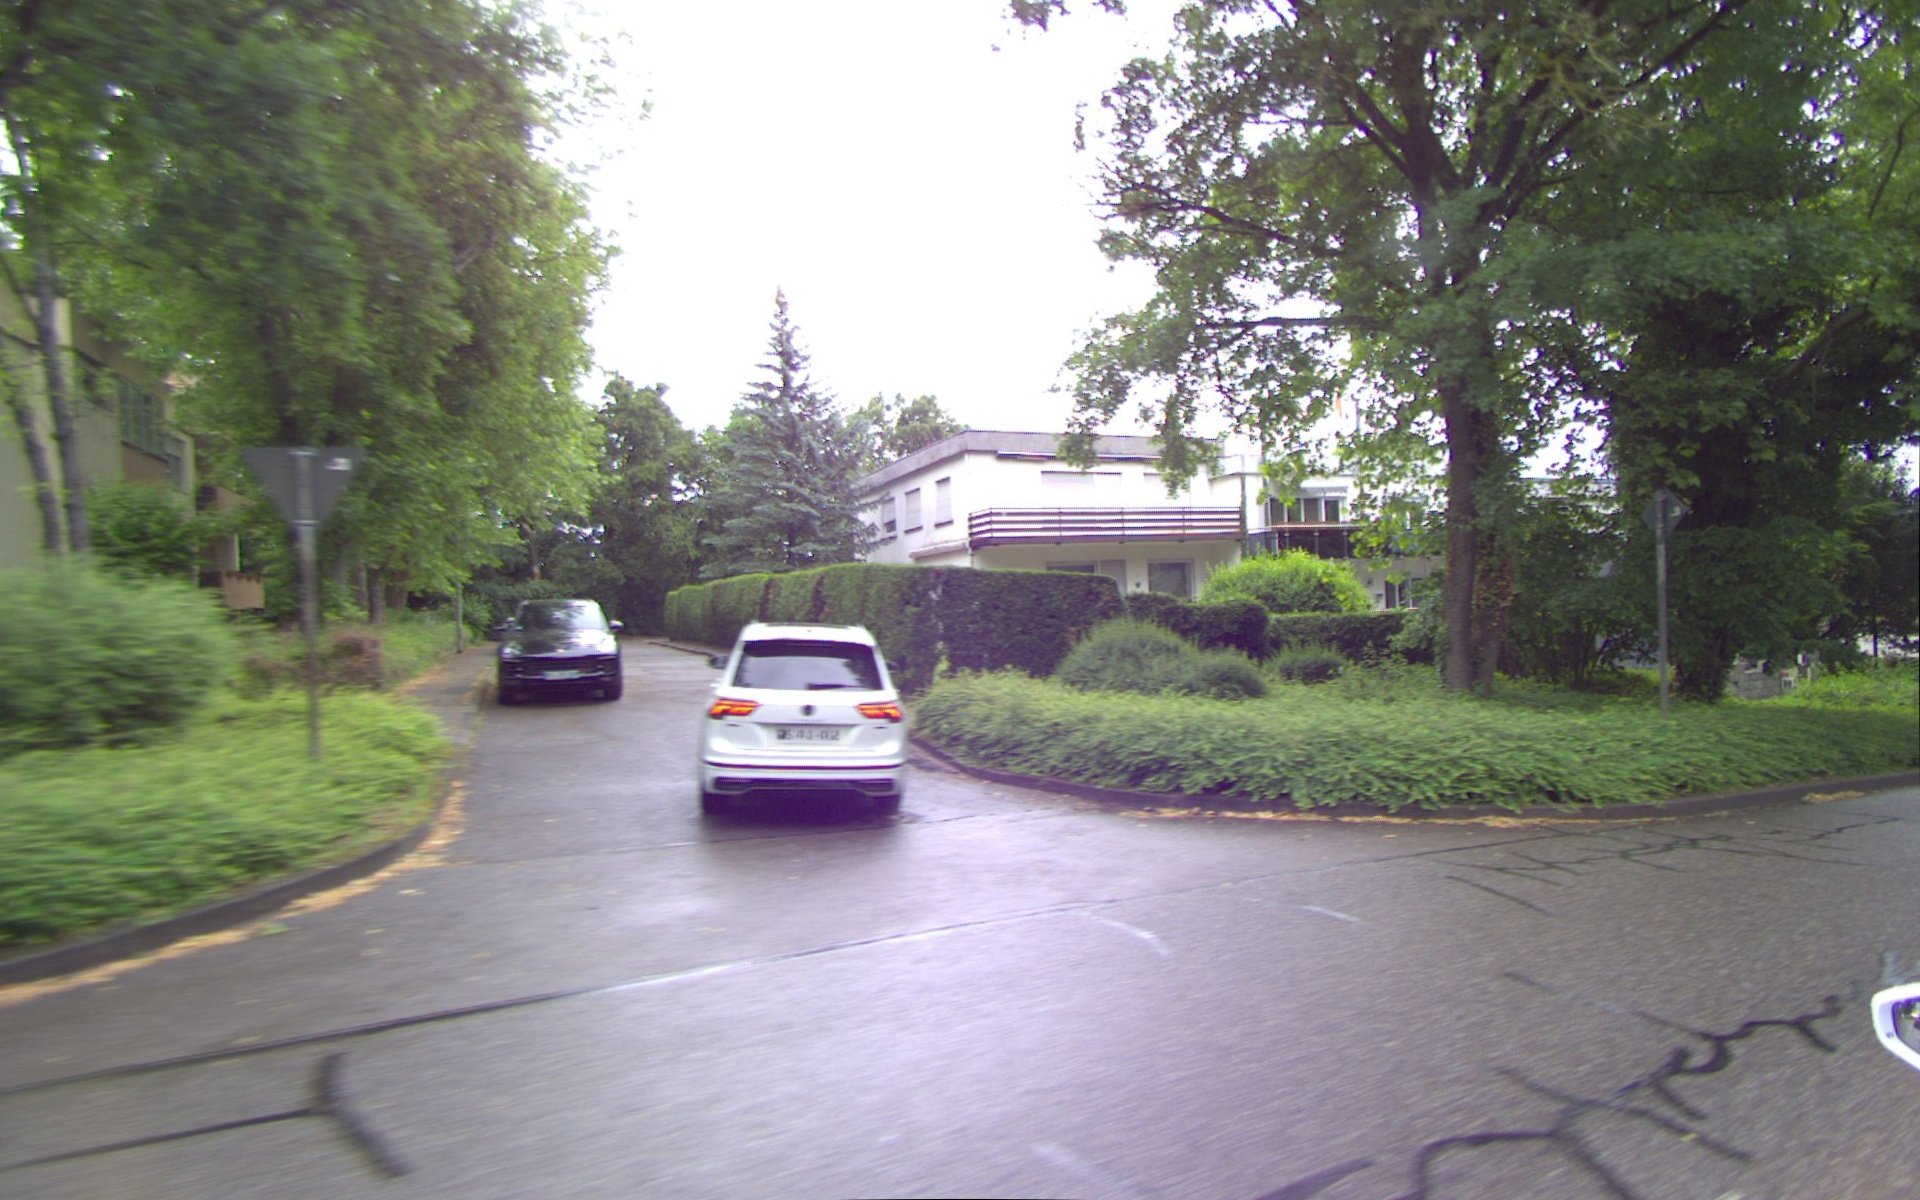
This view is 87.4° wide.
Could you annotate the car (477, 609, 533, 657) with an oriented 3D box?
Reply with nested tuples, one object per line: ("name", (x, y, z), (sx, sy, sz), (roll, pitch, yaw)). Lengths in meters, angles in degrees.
("car", (-14.948, 1.066, 33.102), (1.530, 1.469, 3.977), (2, -2, -24))

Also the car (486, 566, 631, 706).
("car", (-6.743, 0.543, 17.136), (1.969, 2.040, 3.982), (-2, 0, -20))

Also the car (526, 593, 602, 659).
("car", (-12.087, 0.782, 30.501), (1.972, 1.832, 3.977), (2, -2, -24))

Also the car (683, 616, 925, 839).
("car", (-1.568, 1.039, 10.067), (1.877, 1.708, 4.193), (1, -1, -10))
